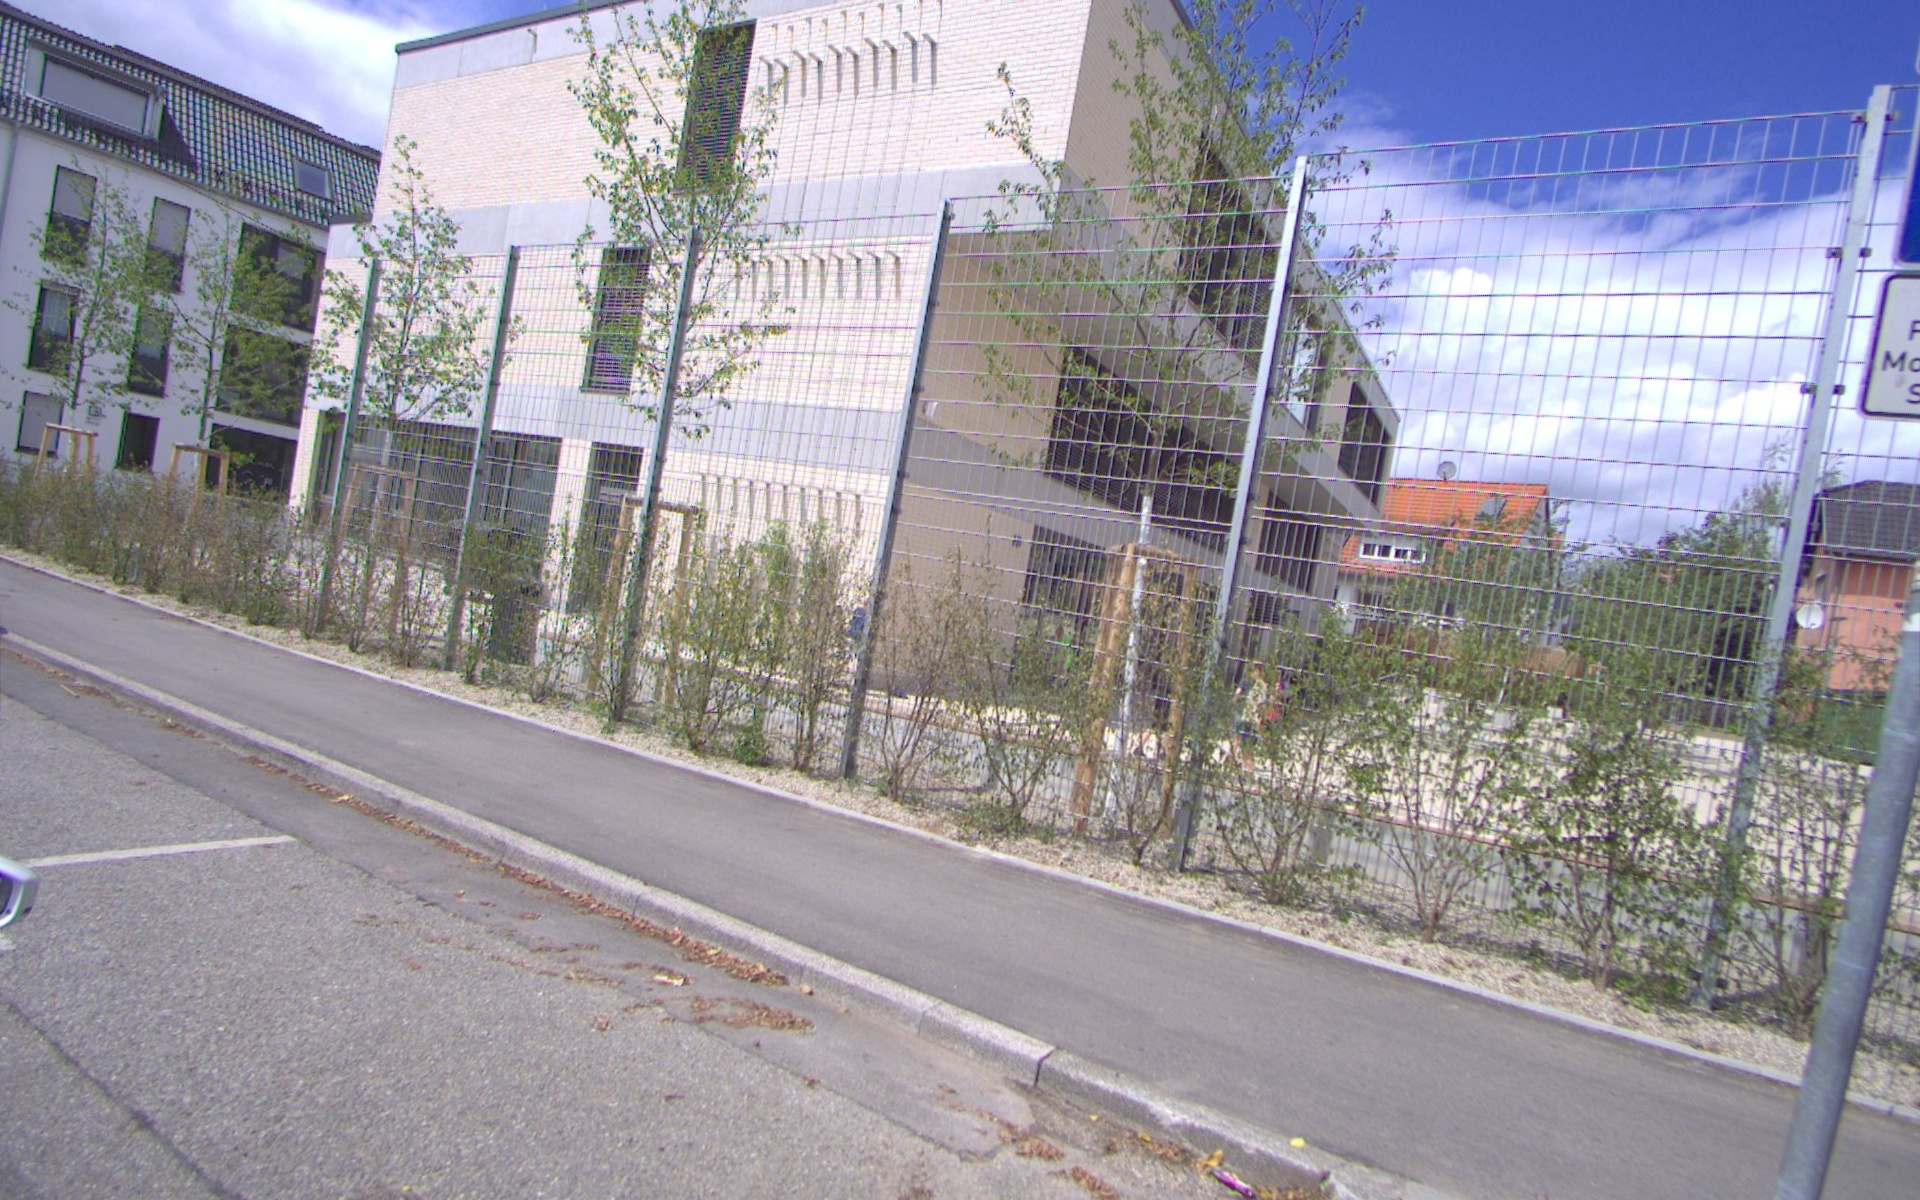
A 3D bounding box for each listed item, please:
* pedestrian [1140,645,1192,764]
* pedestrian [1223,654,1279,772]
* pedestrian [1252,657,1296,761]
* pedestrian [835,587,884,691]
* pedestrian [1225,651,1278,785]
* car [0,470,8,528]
[{"bbox_3d":[2.458,1.238,11.993,0.345,1.344,0.371,8,0,23],"label":"pedestrian"},{"bbox_3d":[3.524,1.359,12.184,0.436,1.344,0.371,8,0,23],"label":"pedestrian"},{"bbox_3d":[4.520,1.568,14.482,0.362,1.433,0.292,8,0,31],"label":"pedestrian"},{"bbox_3d":[-1.432,0.557,14.281,0.362,1.433,0.351,8,0,31],"label":"pedestrian"},{"bbox_3d":[3.054,1.224,10.540,0.312,1.344,0.371,8,0,23],"label":"pedestrian"},{"bbox_3d":[-10.549,-0.699,9.011,4.292,1.527,1.790,8,-1,32],"label":"car"}]
